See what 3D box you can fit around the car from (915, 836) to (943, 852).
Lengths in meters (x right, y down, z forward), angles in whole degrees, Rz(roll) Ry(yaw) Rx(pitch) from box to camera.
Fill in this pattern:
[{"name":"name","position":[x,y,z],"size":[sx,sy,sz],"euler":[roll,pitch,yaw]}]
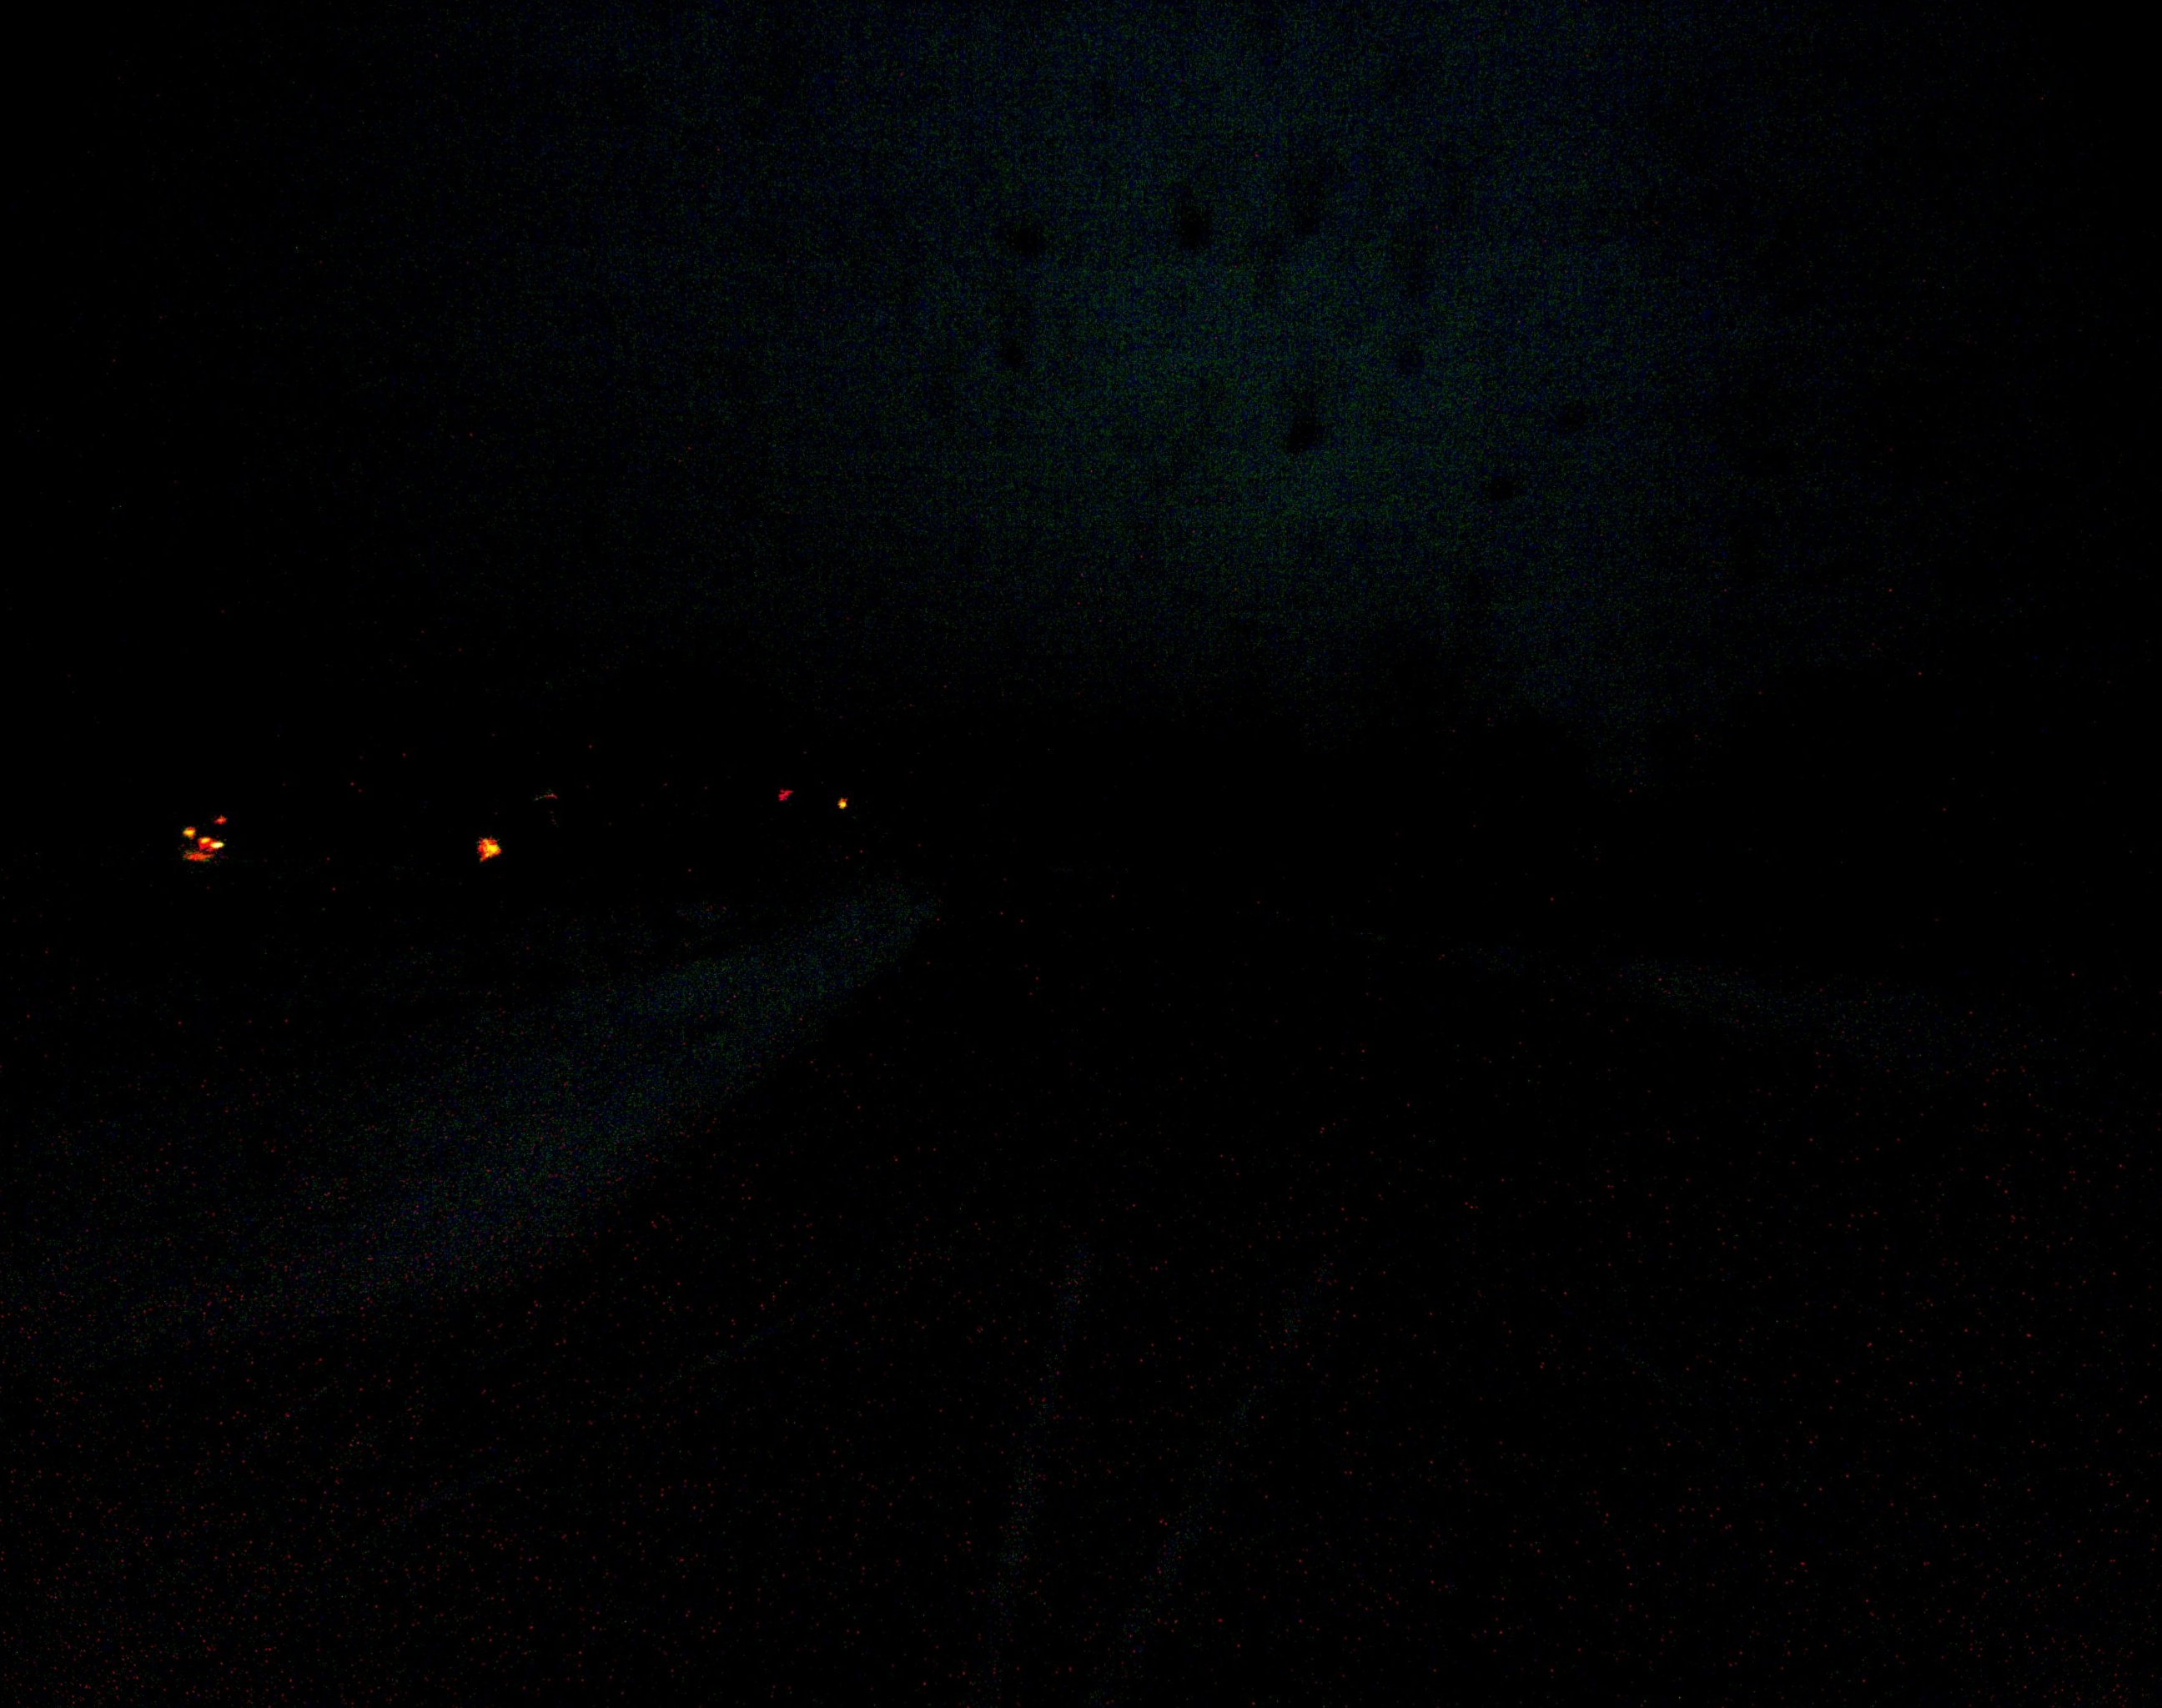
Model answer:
[{"name":"car","position":[-15.714,-1.061,78.205],"size":[1.727,1.525,3.507],"euler":[0,2,-31]}]

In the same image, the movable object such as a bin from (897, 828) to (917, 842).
[{"name":"movable object such as a bin","position":[-22.057,-2.442,96.456],"size":[2.372,1.640,1.439],"euler":[-2,4,-11]}]

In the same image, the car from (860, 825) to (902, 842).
[{"name":"car","position":[-27.873,-2.857,105.949],"size":[5.288,2.003,2.207],"euler":[1,5,-36]}]
